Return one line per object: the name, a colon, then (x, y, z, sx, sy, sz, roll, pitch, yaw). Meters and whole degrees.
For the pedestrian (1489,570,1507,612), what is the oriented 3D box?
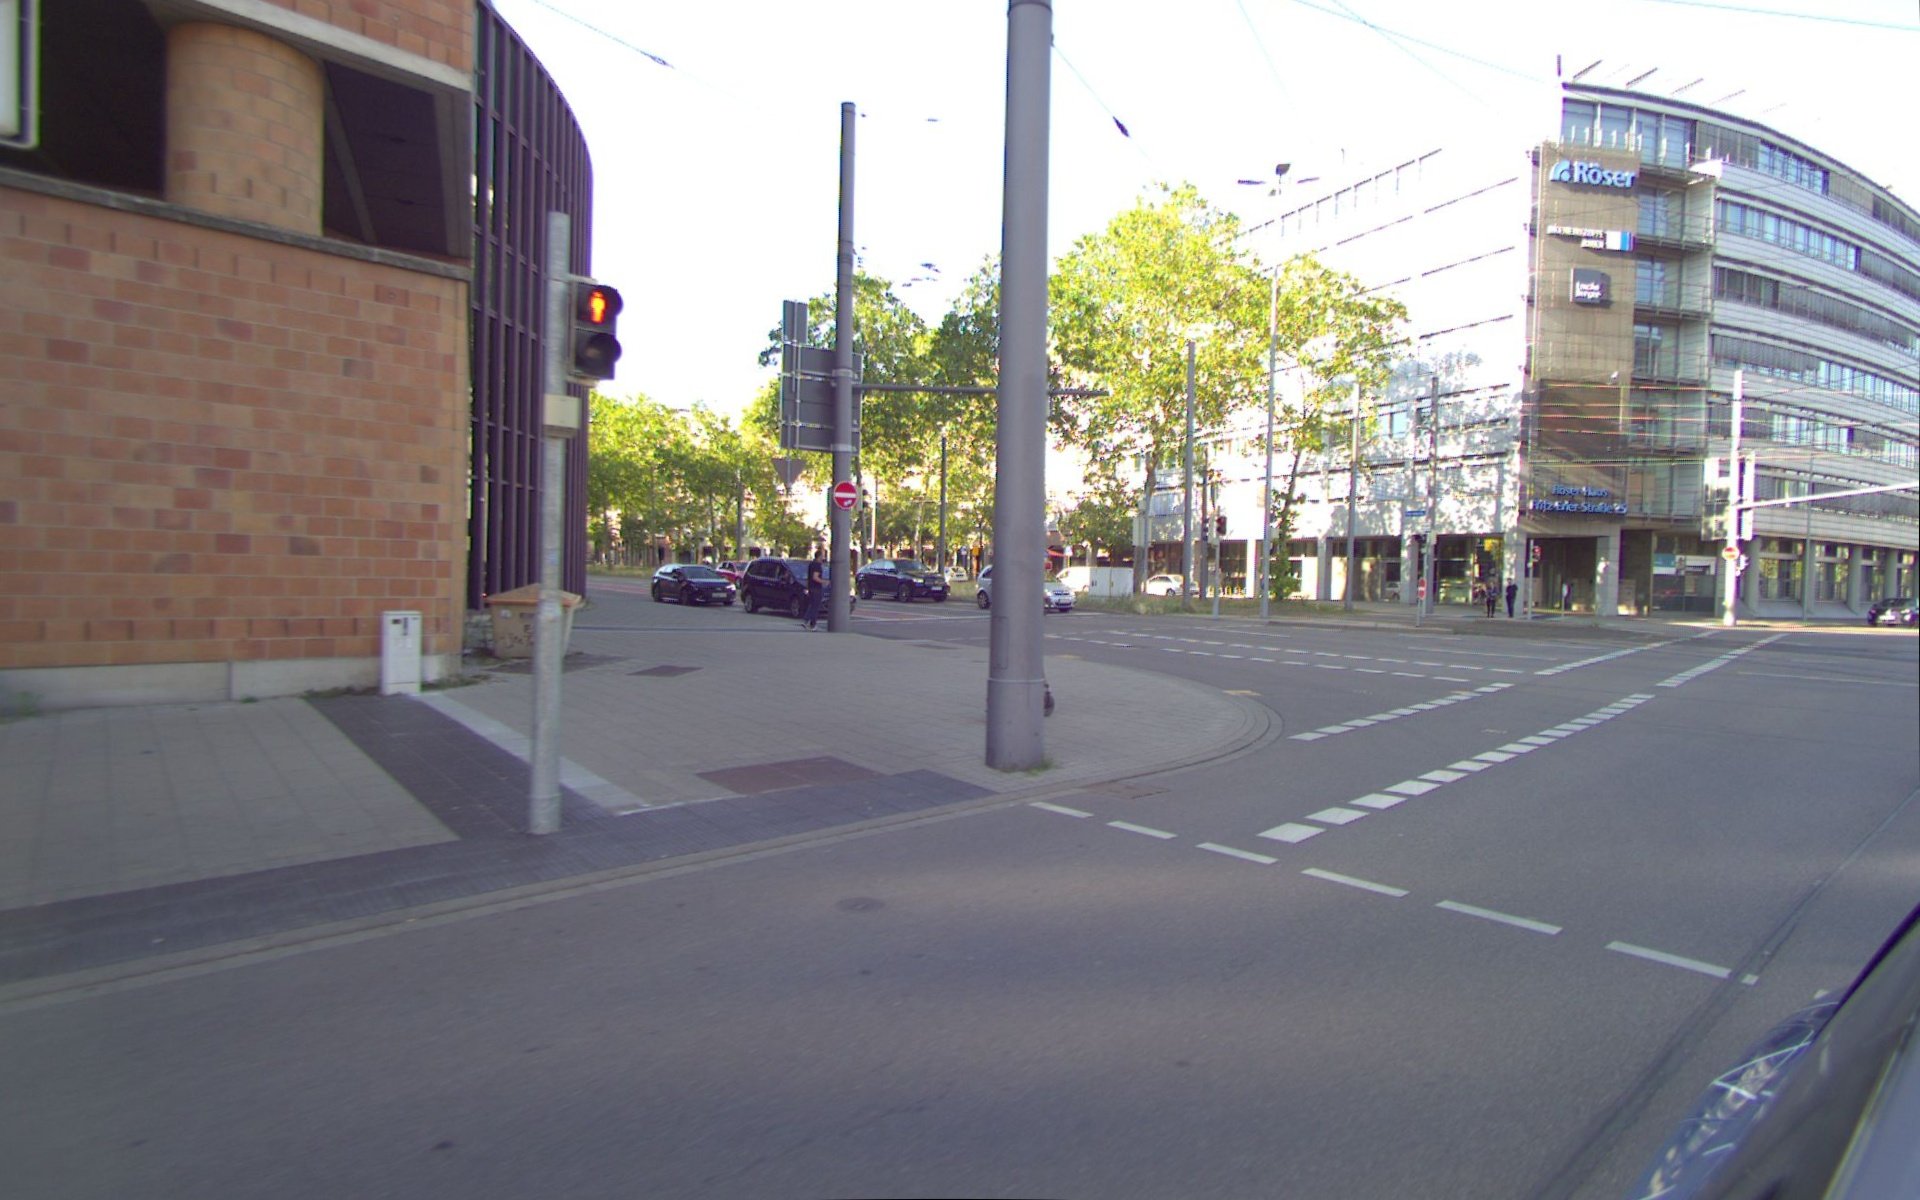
pedestrian: (24.320, -0.413, 45.740, 0.586, 1.846, 0.537, 2, 2, 37)

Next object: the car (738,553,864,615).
car: (-4.795, -0.541, 30.022, 1.805, 1.674, 4.500, -1, 3, -37)

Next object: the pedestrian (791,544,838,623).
pedestrian: (-3.286, -0.374, 22.872, 0.816, 1.737, 0.659, 2, 2, 25)

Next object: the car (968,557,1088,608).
car: (2.282, -0.637, 34.869, 1.704, 1.616, 4.324, 0, 2, -37)

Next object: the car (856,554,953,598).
car: (-2.302, -0.993, 40.812, 1.825, 1.671, 4.324, 0, 2, -37)

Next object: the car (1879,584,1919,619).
car: (46.877, 0.121, 49.124, 4.085, 1.641, 1.908, 2, 1, -25)

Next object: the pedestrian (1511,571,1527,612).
pedestrian: (25.003, -0.384, 45.244, 0.544, 1.846, 0.369, 2, 2, 37)

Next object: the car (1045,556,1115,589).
car: (7.791, -1.831, 65.900, 1.964, 2.038, 4.382, 0, 2, -38)

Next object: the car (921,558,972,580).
car: (-1.058, -2.397, 78.255, 1.825, 1.571, 4.326, 0, 2, -36)

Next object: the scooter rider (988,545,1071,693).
scooter rider: (0.726, 0.175, 10.527, 0.506, 1.479, 0.711, 3, 2, 43)

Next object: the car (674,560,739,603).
car: (-9.014, -0.686, 35.834, 1.881, 1.393, 4.010, 1, 2, -19)

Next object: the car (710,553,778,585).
car: (-11.258, -1.630, 52.602, 1.825, 1.571, 4.324, 0, 2, -37)

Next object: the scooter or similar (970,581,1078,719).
scooter or similar: (0.675, 0.482, 10.474, 0.527, 1.334, 1.115, 3, 2, 42)

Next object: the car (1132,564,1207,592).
car: (12.482, -1.333, 60.500, 1.825, 1.571, 4.326, 0, 2, -36)
